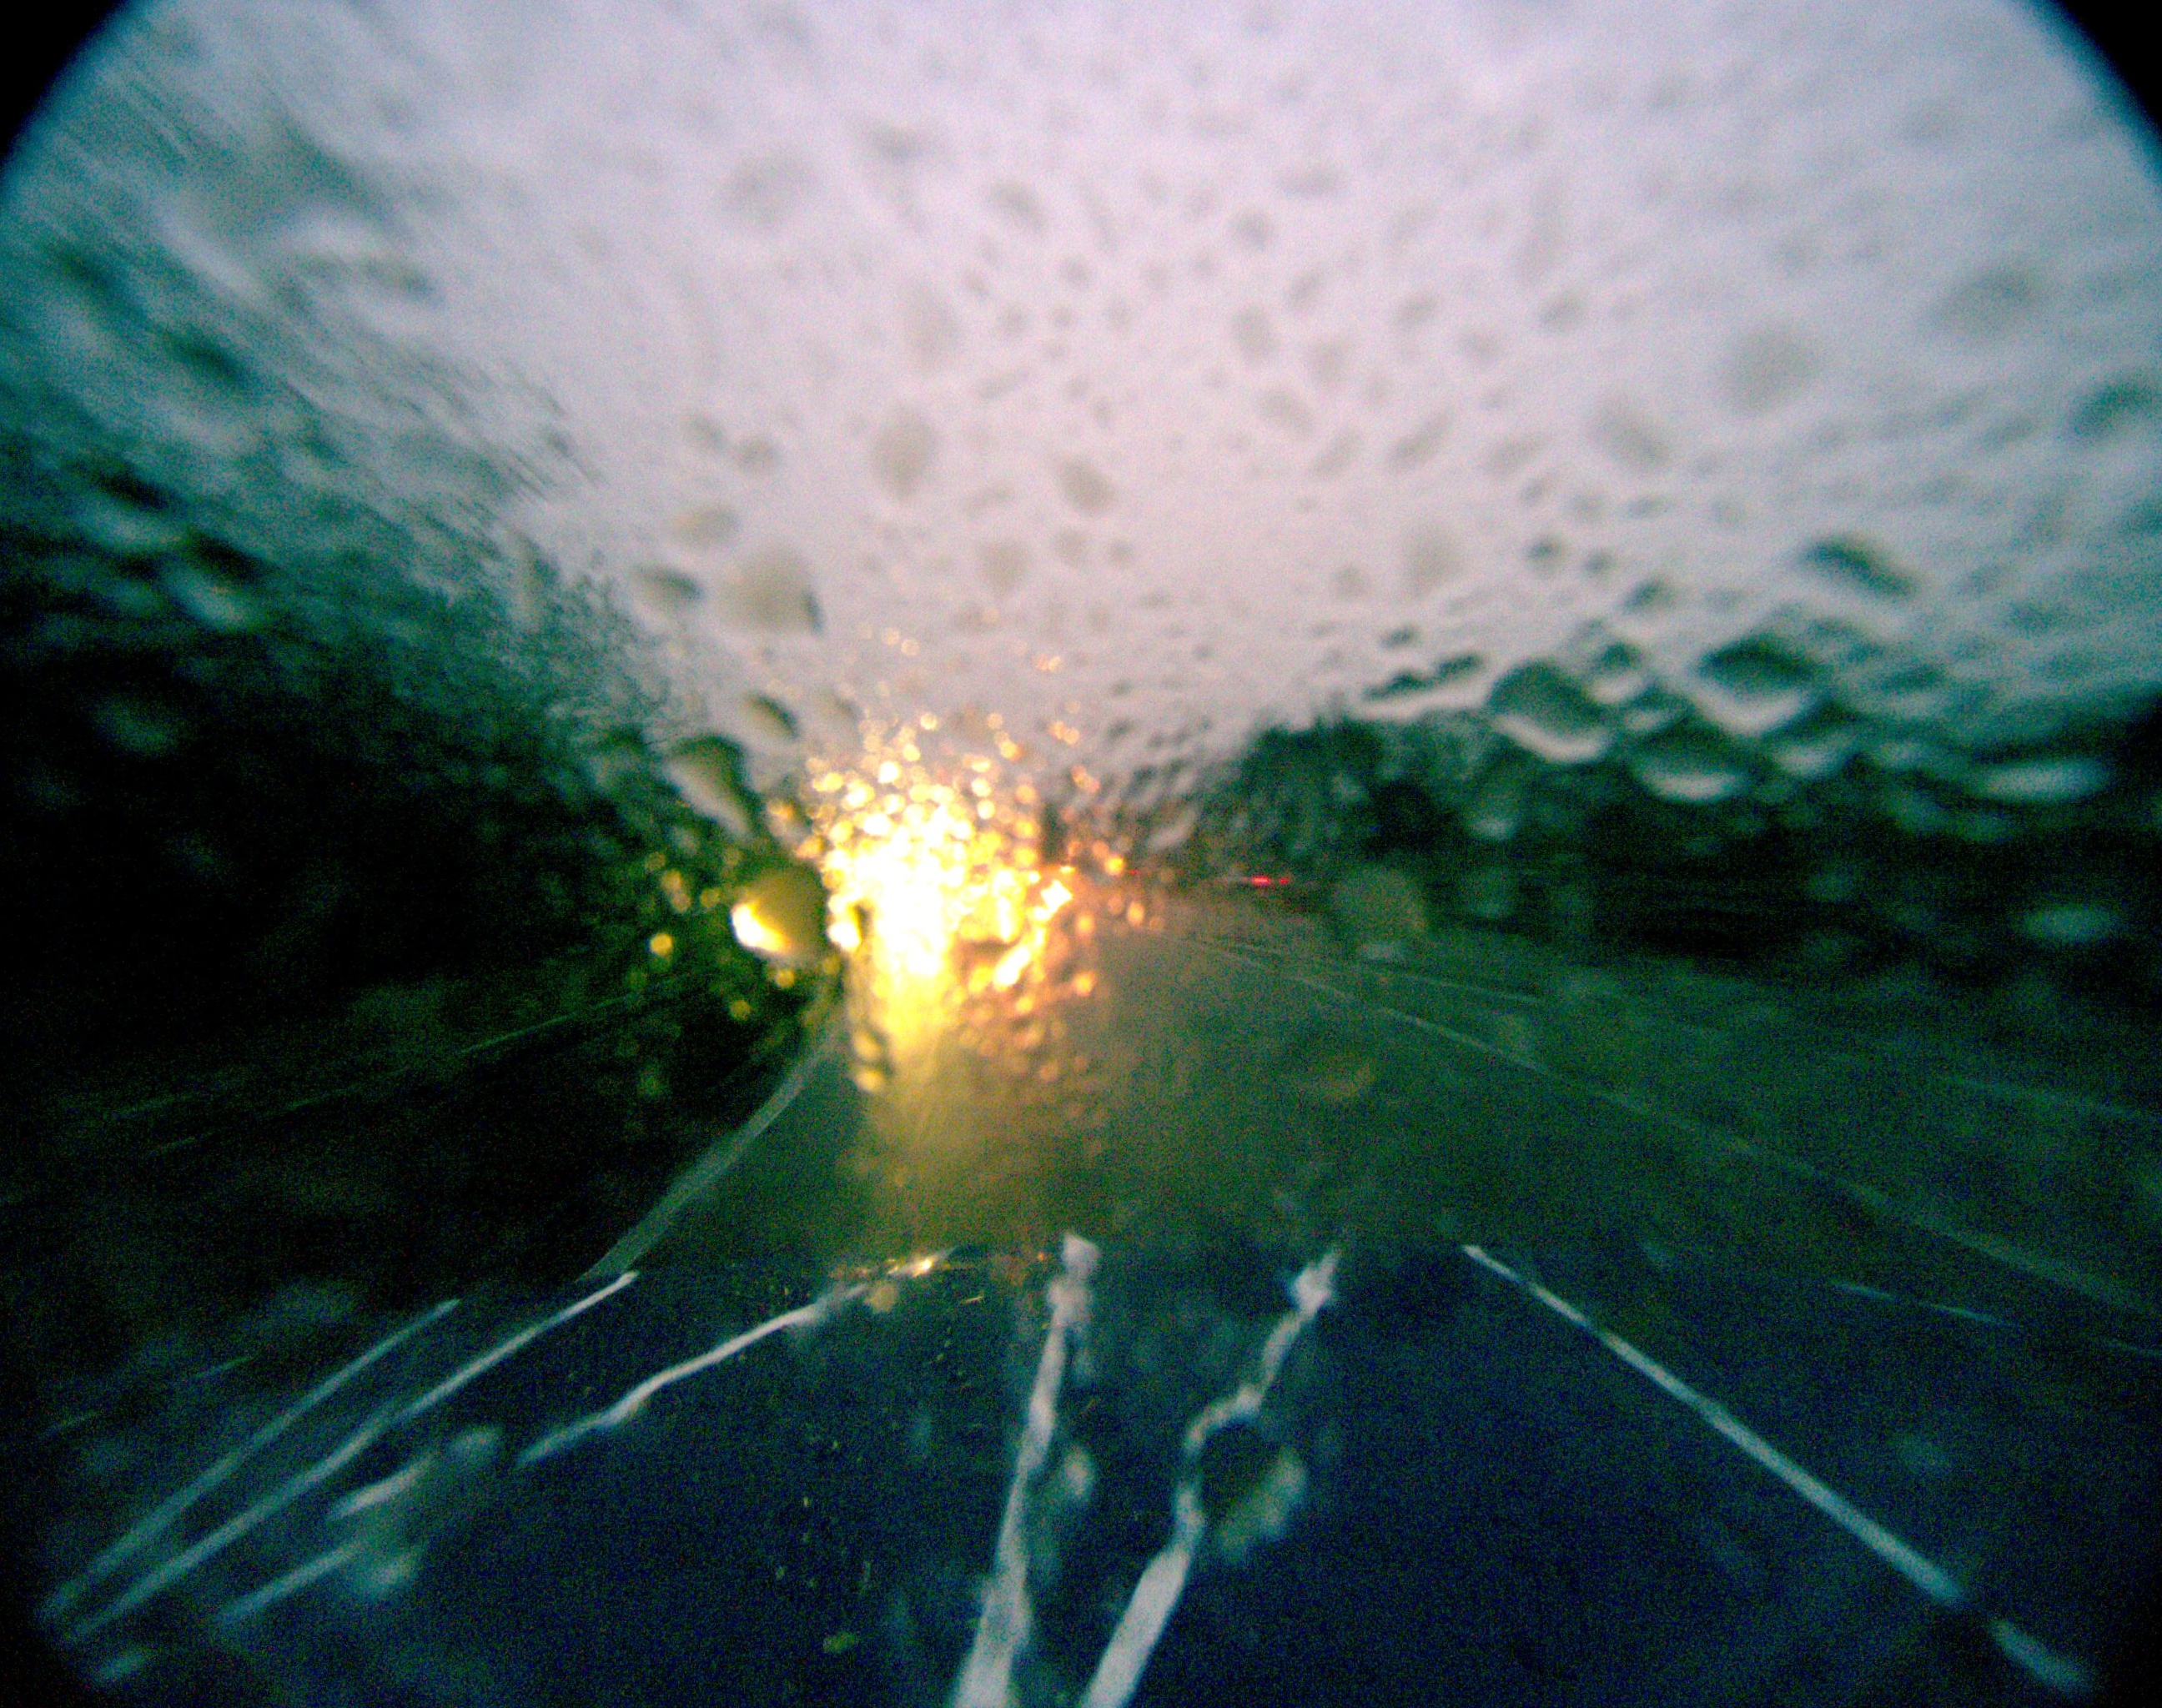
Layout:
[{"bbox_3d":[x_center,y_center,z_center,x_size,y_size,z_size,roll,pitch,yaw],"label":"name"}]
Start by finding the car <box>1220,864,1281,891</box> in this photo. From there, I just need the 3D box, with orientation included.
[{"bbox_3d":[10.690,1.458,48.305,1.761,1.560,4.391,-1,1,-19],"label":"car"}]

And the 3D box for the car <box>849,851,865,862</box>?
[{"bbox_3d":[-25.756,0.309,87.345,1.485,1.198,3.343,0,0,-20],"label":"car"}]

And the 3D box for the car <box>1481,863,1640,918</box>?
[{"bbox_3d":[15.553,1.113,24.913,1.762,1.560,4.185,-1,1,-22],"label":"car"}]

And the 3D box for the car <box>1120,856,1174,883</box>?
[{"bbox_3d":[4.181,0.954,49.044,1.761,1.560,4.670,-1,1,-18],"label":"car"}]

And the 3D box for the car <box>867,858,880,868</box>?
[{"bbox_3d":[-32.973,1.415,120.680,1.694,1.642,3.993,-1,0,-21],"label":"car"}]

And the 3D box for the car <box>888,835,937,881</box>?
[{"bbox_3d":[-8.051,0.177,36.012,2.001,2.001,3.958,2,-1,-16],"label":"car"}]

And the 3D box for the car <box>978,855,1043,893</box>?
[{"bbox_3d":[-3.025,0.800,32.068,1.657,1.502,3.867,0,0,-23],"label":"car"}]

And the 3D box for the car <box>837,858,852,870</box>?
[{"bbox_3d":[-34.773,1.519,111.748,1.823,1.739,3.993,-1,0,-21],"label":"car"}]
